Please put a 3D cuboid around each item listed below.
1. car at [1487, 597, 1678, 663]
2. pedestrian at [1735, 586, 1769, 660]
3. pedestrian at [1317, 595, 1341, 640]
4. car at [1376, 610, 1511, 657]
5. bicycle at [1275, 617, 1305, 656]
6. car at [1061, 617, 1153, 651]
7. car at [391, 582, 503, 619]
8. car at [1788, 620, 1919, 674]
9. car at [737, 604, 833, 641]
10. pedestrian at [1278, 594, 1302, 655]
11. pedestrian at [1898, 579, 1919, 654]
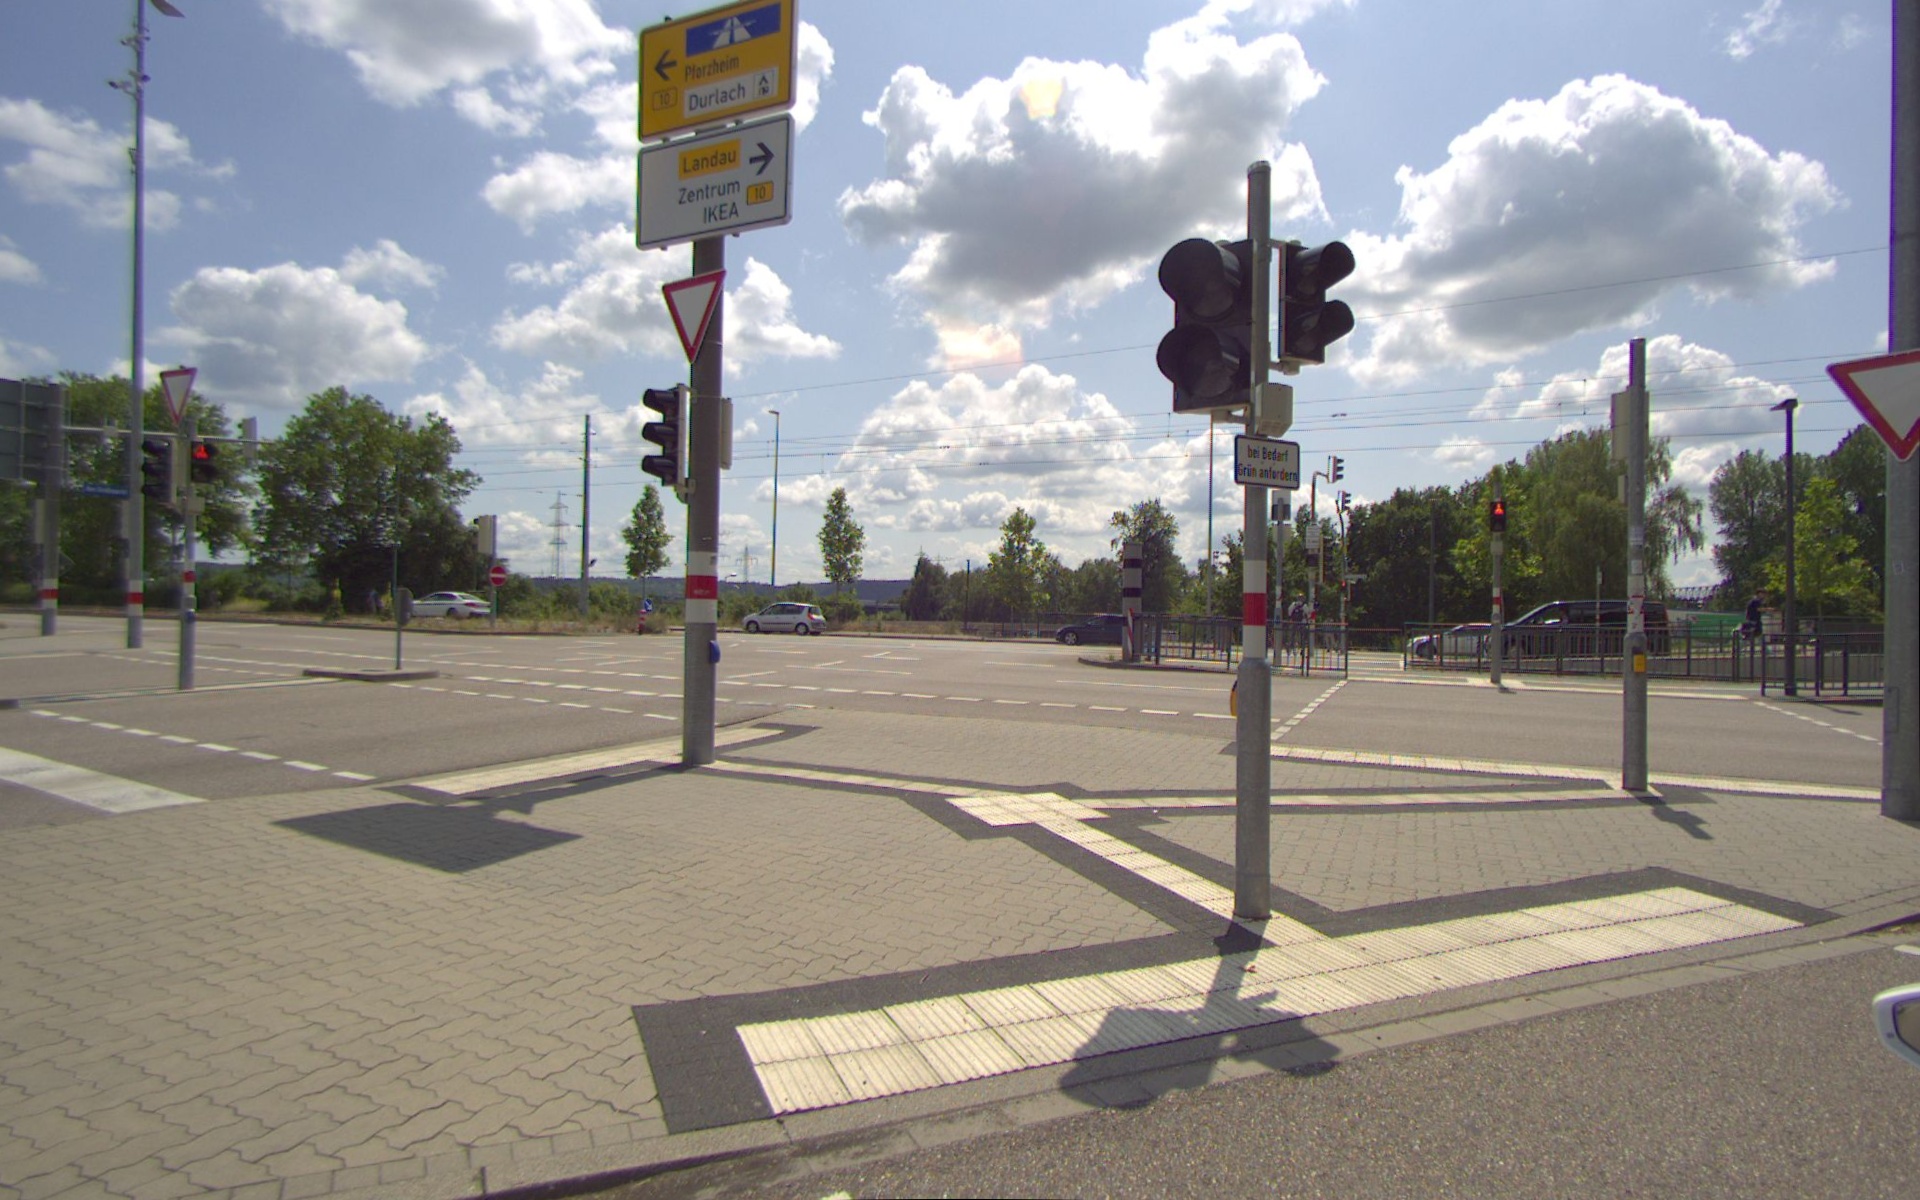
[{"bbox_3d":[18.227,0.859,29.698,4.579,1.844,1.998,0,-1,25],"label":"car"},{"bbox_3d":[19.266,0.555,24.432,0.515,1.744,0.729,-1,0,29],"label":"pedestrian"},{"bbox_3d":[16.685,0.786,45.406,0.965,2.040,0.903,0,0,17],"label":"pedestrian"},{"bbox_3d":[18.873,1.289,39.449,4.574,1.797,1.885,0,-1,19],"label":"car"},{"bbox_3d":[9.925,1.086,30.207,0.609,1.102,1.720,0,0,27],"label":"bicycle"},{"bbox_3d":[6.563,1.485,44.734,3.815,1.427,1.670,0,0,18],"label":"car"},{"bbox_3d":[-26.100,0.055,51.142,5.031,1.832,2.001,0,-1,14],"label":"car"},{"bbox_3d":[31.209,1.571,34.334,4.082,1.797,1.883,0,-1,25],"label":"car"},{"bbox_3d":[-8.640,1.122,49.598,4.236,1.679,1.815,0,-5,18],"label":"car"},{"bbox_3d":[9.914,0.721,30.175,0.602,1.792,0.671,0,0,27],"label":"pedestrian"},{"bbox_3d":[22.710,0.394,23.702,0.695,1.744,0.600,-1,0,28],"label":"pedestrian"}]
